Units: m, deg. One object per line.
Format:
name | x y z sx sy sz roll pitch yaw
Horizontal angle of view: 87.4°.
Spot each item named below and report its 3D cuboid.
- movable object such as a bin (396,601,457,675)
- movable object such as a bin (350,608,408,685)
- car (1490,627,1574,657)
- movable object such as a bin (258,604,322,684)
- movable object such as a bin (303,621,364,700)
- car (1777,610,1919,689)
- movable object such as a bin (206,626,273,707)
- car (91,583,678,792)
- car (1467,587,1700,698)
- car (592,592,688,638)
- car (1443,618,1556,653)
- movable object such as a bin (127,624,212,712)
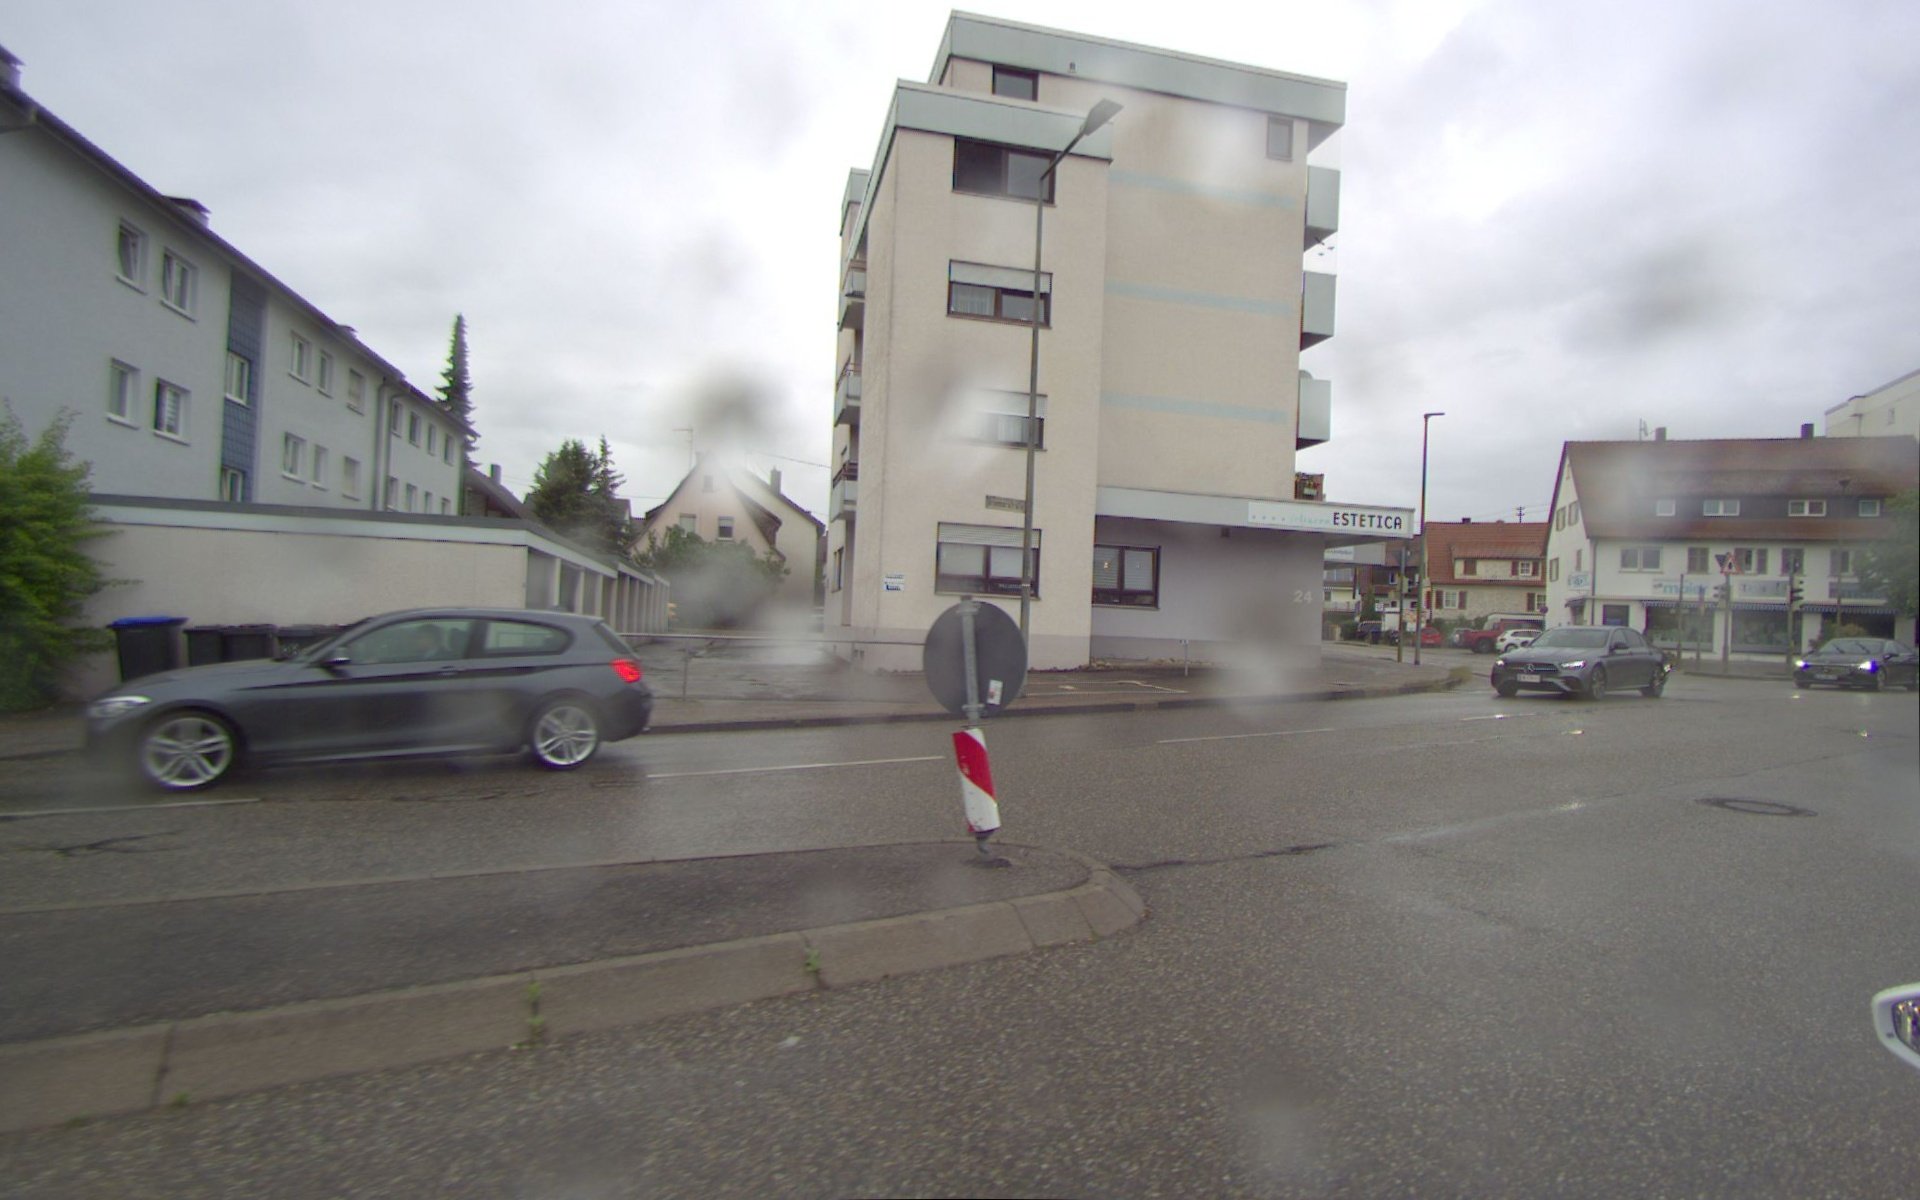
movable object such as a bin | -7.215 0.507 13.598 0.591 0.974 0.499 2 -1 -14
movable object such as a bin | -7.759 0.614 13.430 0.525 0.974 0.499 2 3 -14
car | 32.987 2.403 58.039 3.923 1.546 1.999 2 -1 23
movable object such as a bin | -8.779 0.572 13.172 0.525 0.974 0.499 3 3 -14
movable object such as a bin | -8.284 0.796 13.300 0.525 0.974 0.499 3 3 -14
car | 25.154 1.376 28.143 4.597 2.040 1.984 2 -1 -30
movable object such as a bin | -9.321 0.859 13.009 0.525 0.974 0.499 3 3 -14
car | -4.809 0.692 8.967 4.112 1.492 1.780 2 -1 -29
car | 13.166 0.904 21.041 5.922 2.040 2.076 2 -3 -36
car | -15.117 0.709 47.599 3.925 2.040 1.998 2 -1 -6
car | 32.664 2.132 60.985 5.735 1.866 2.001 2 -1 16
movable object such as a bin | -10.023 0.862 12.756 0.676 1.032 0.499 3 3 -13
